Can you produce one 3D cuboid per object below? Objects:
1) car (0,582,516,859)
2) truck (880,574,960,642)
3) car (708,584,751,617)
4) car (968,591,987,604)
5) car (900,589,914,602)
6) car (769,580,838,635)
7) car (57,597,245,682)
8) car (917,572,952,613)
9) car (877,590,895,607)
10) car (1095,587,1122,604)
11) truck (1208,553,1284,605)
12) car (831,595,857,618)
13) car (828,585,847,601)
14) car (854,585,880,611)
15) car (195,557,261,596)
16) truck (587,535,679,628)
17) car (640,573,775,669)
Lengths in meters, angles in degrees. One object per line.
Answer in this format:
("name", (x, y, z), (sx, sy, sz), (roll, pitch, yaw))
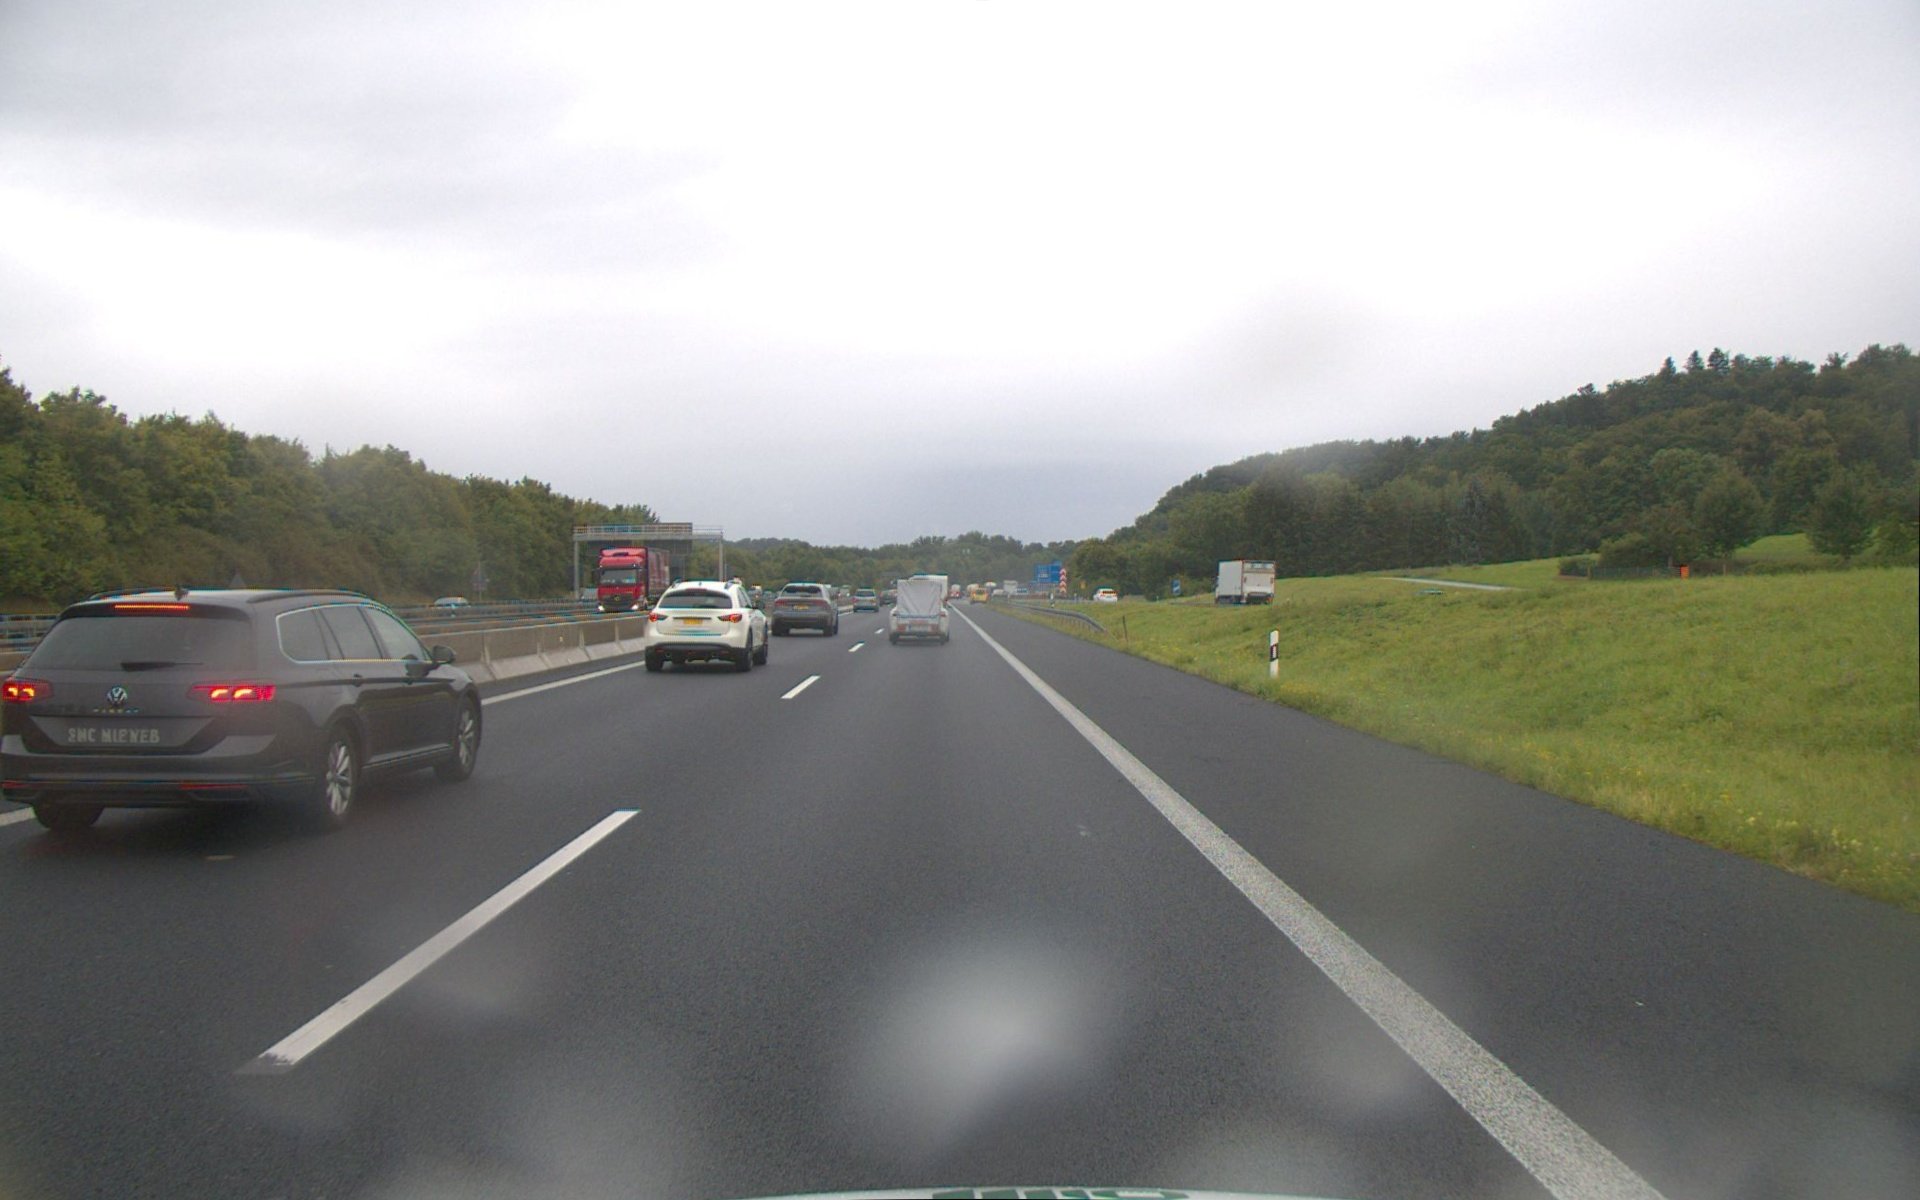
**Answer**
("car", (-4.555, 0.638, 11.328), (1.751, 1.484, 4.801), (1, 0, -1))
("truck", (-1.204, 0.198, 49.032), (2.197, 1.871, 6.582), (1, 0, -2))
("car", (-13.931, 0.035, 100.088), (1.953, 1.895, 5.219), (-2, 0, -2))
("car", (2.243, -0.305, 211.248), (1.955, 1.579, 3.995), (1, 0, -6))
("car", (-6.565, -0.524, 203.818), (1.612, 1.601, 3.999), (1, 0, -1))
("car", (-5.198, 0.222, 55.571), (1.936, 1.733, 4.801), (1, 0, -1))
("car", (-16.480, 0.753, 33.976), (1.689, 1.580, 4.581), (1, 0, -2))
("car", (-1.797, -0.545, 113.910), (2.284, 2.773, 6.537), (0, 1, -2))
("car", (-7.261, -0.166, 161.795), (1.612, 1.601, 3.999), (1, 0, -1))
("car", (14.932, -0.457, 166.483), (1.955, 1.579, 3.996), (1, 0, -5))
("truck", (21.688, -1.576, 125.937), (3.750, 3.723, 8.264), (1, 0, -5))
("car", (-8.885, 0.477, 127.149), (1.782, 1.691, 4.016), (0, 0, -1))
("car", (-14.341, -0.812, 193.431), (1.953, 1.868, 4.677), (1, 0, -2))
("car", (-6.598, -0.170, 118.081), (1.703, 1.825, 3.999), (1, 0, -1))
("car", (-39.303, -1.261, 88.882), (1.714, 2.049, 4.000), (0, 0, 0))
("truck", (-17.824, -0.993, 90.883), (3.332, 4.816, 10.480), (1, 0, -3))
("car", (-4.766, 0.363, 31.875), (2.007, 1.699, 4.539), (1, 0, -2))
